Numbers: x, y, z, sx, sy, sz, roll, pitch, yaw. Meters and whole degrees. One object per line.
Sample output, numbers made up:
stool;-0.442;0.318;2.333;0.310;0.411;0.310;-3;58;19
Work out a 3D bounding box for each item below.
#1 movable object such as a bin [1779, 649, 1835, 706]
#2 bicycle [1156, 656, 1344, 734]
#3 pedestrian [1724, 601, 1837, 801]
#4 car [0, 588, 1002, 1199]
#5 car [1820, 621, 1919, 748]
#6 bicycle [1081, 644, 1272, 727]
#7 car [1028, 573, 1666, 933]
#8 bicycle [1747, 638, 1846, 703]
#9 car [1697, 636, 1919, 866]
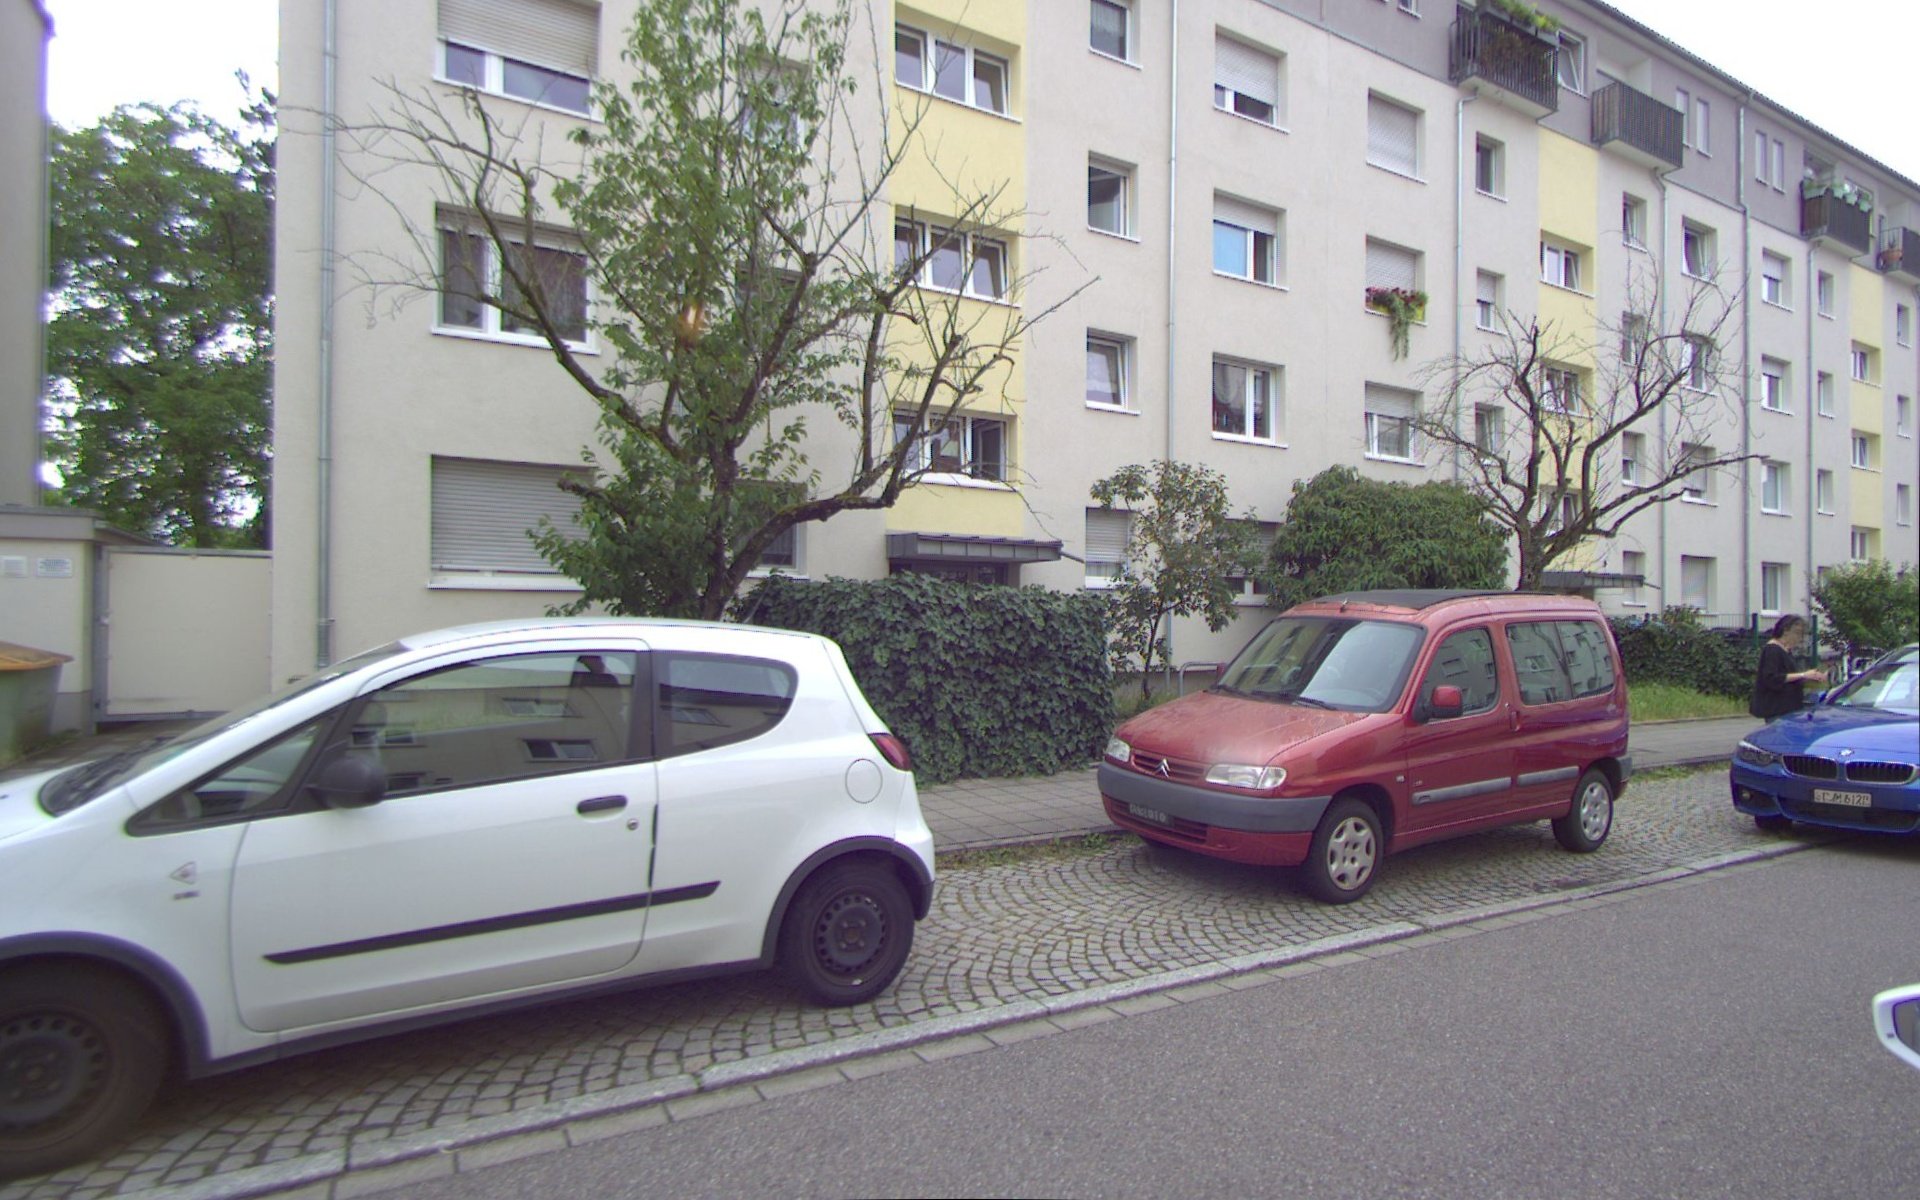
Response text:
movable object such as a bin;14.721;1.336;17.454;0.628;0.967;0.549;1;-2;-30
bicycle;3.663;1.147;12.538;2.724;0.859;0.568;1;-2;-31
pedestrian;7.534;0.887;9.223;0.733;1.724;0.791;-1;-2;43
car;-1.913;0.797;3.980;3.824;1.591;1.712;1;1;-30
car;12.781;1.018;12.719;3.740;1.484;1.736;1;-1;-30
bicycle;2.946;1.108;13.504;2.724;1.012;0.773;1;-2;-31
car;2.792;0.792;6.987;4.313;1.794;1.946;1;0;-32
bicycle;16.947;1.392;20.335;2.327;1.228;0.785;1;-1;-30
car;8.086;1.052;8.027;4.445;1.470;1.837;1;0;-29
